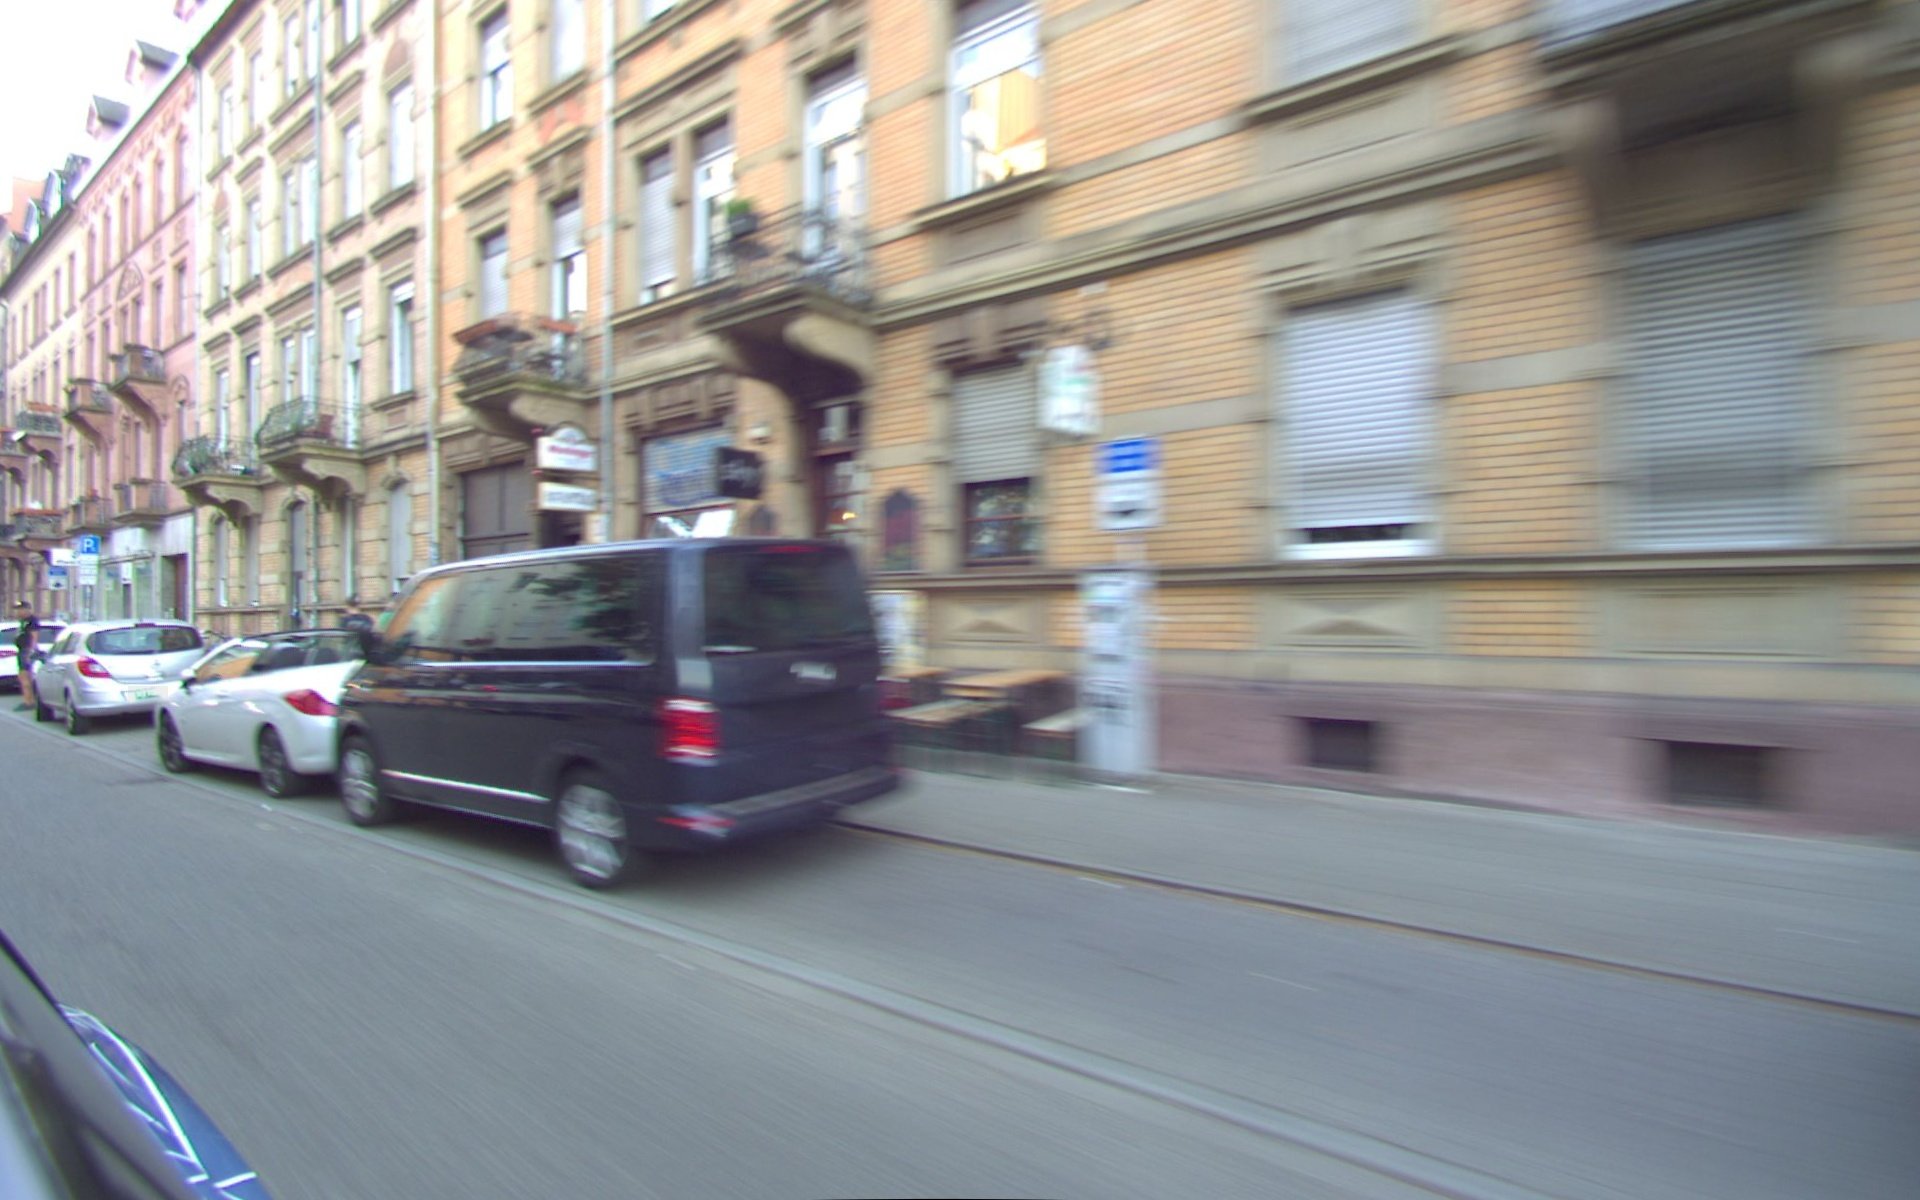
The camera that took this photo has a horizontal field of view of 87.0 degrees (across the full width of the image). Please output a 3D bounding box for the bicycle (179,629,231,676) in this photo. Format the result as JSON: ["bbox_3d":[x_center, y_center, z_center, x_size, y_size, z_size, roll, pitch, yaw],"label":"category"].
[{"bbox_3d":[-17.560,1.201,23.527,1.622,1.044,0.559,-2,-1,39],"label":"bicycle"}]

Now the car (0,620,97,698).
[{"bbox_3d":[-19.373,1.164,20.780,4.503,1.422,1.741,-2,-1,39],"label":"car"}]

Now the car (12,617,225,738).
[{"bbox_3d":[-12.331,1.031,14.750,3.997,1.468,1.699,-2,0,40],"label":"car"}]

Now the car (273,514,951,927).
[{"bbox_3d":[-2.639,0.582,7.022,4.942,1.938,1.975,-1,1,37],"label":"car"}]

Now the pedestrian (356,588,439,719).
[{"bbox_3d":[-7.971,0.746,14.343,0.995,1.785,0.575,-2,1,35],"label":"pedestrian"}]

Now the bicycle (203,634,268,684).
[{"bbox_3d":[-15.927,1.279,22.235,1.618,1.035,0.588,-1,-1,32],"label":"bicycle"}]

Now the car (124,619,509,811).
[{"bbox_3d":[-6.508,0.958,10.038,4.478,1.433,1.767,-1,1,37],"label":"car"}]

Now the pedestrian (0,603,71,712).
[{"bbox_3d":[-15.439,0.934,16.706,1.005,1.768,0.557,0,0,-17],"label":"pedestrian"}]

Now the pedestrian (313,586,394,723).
[{"bbox_3d":[-8.232,0.726,13.739,0.775,1.785,0.600,-2,1,35],"label":"pedestrian"}]
